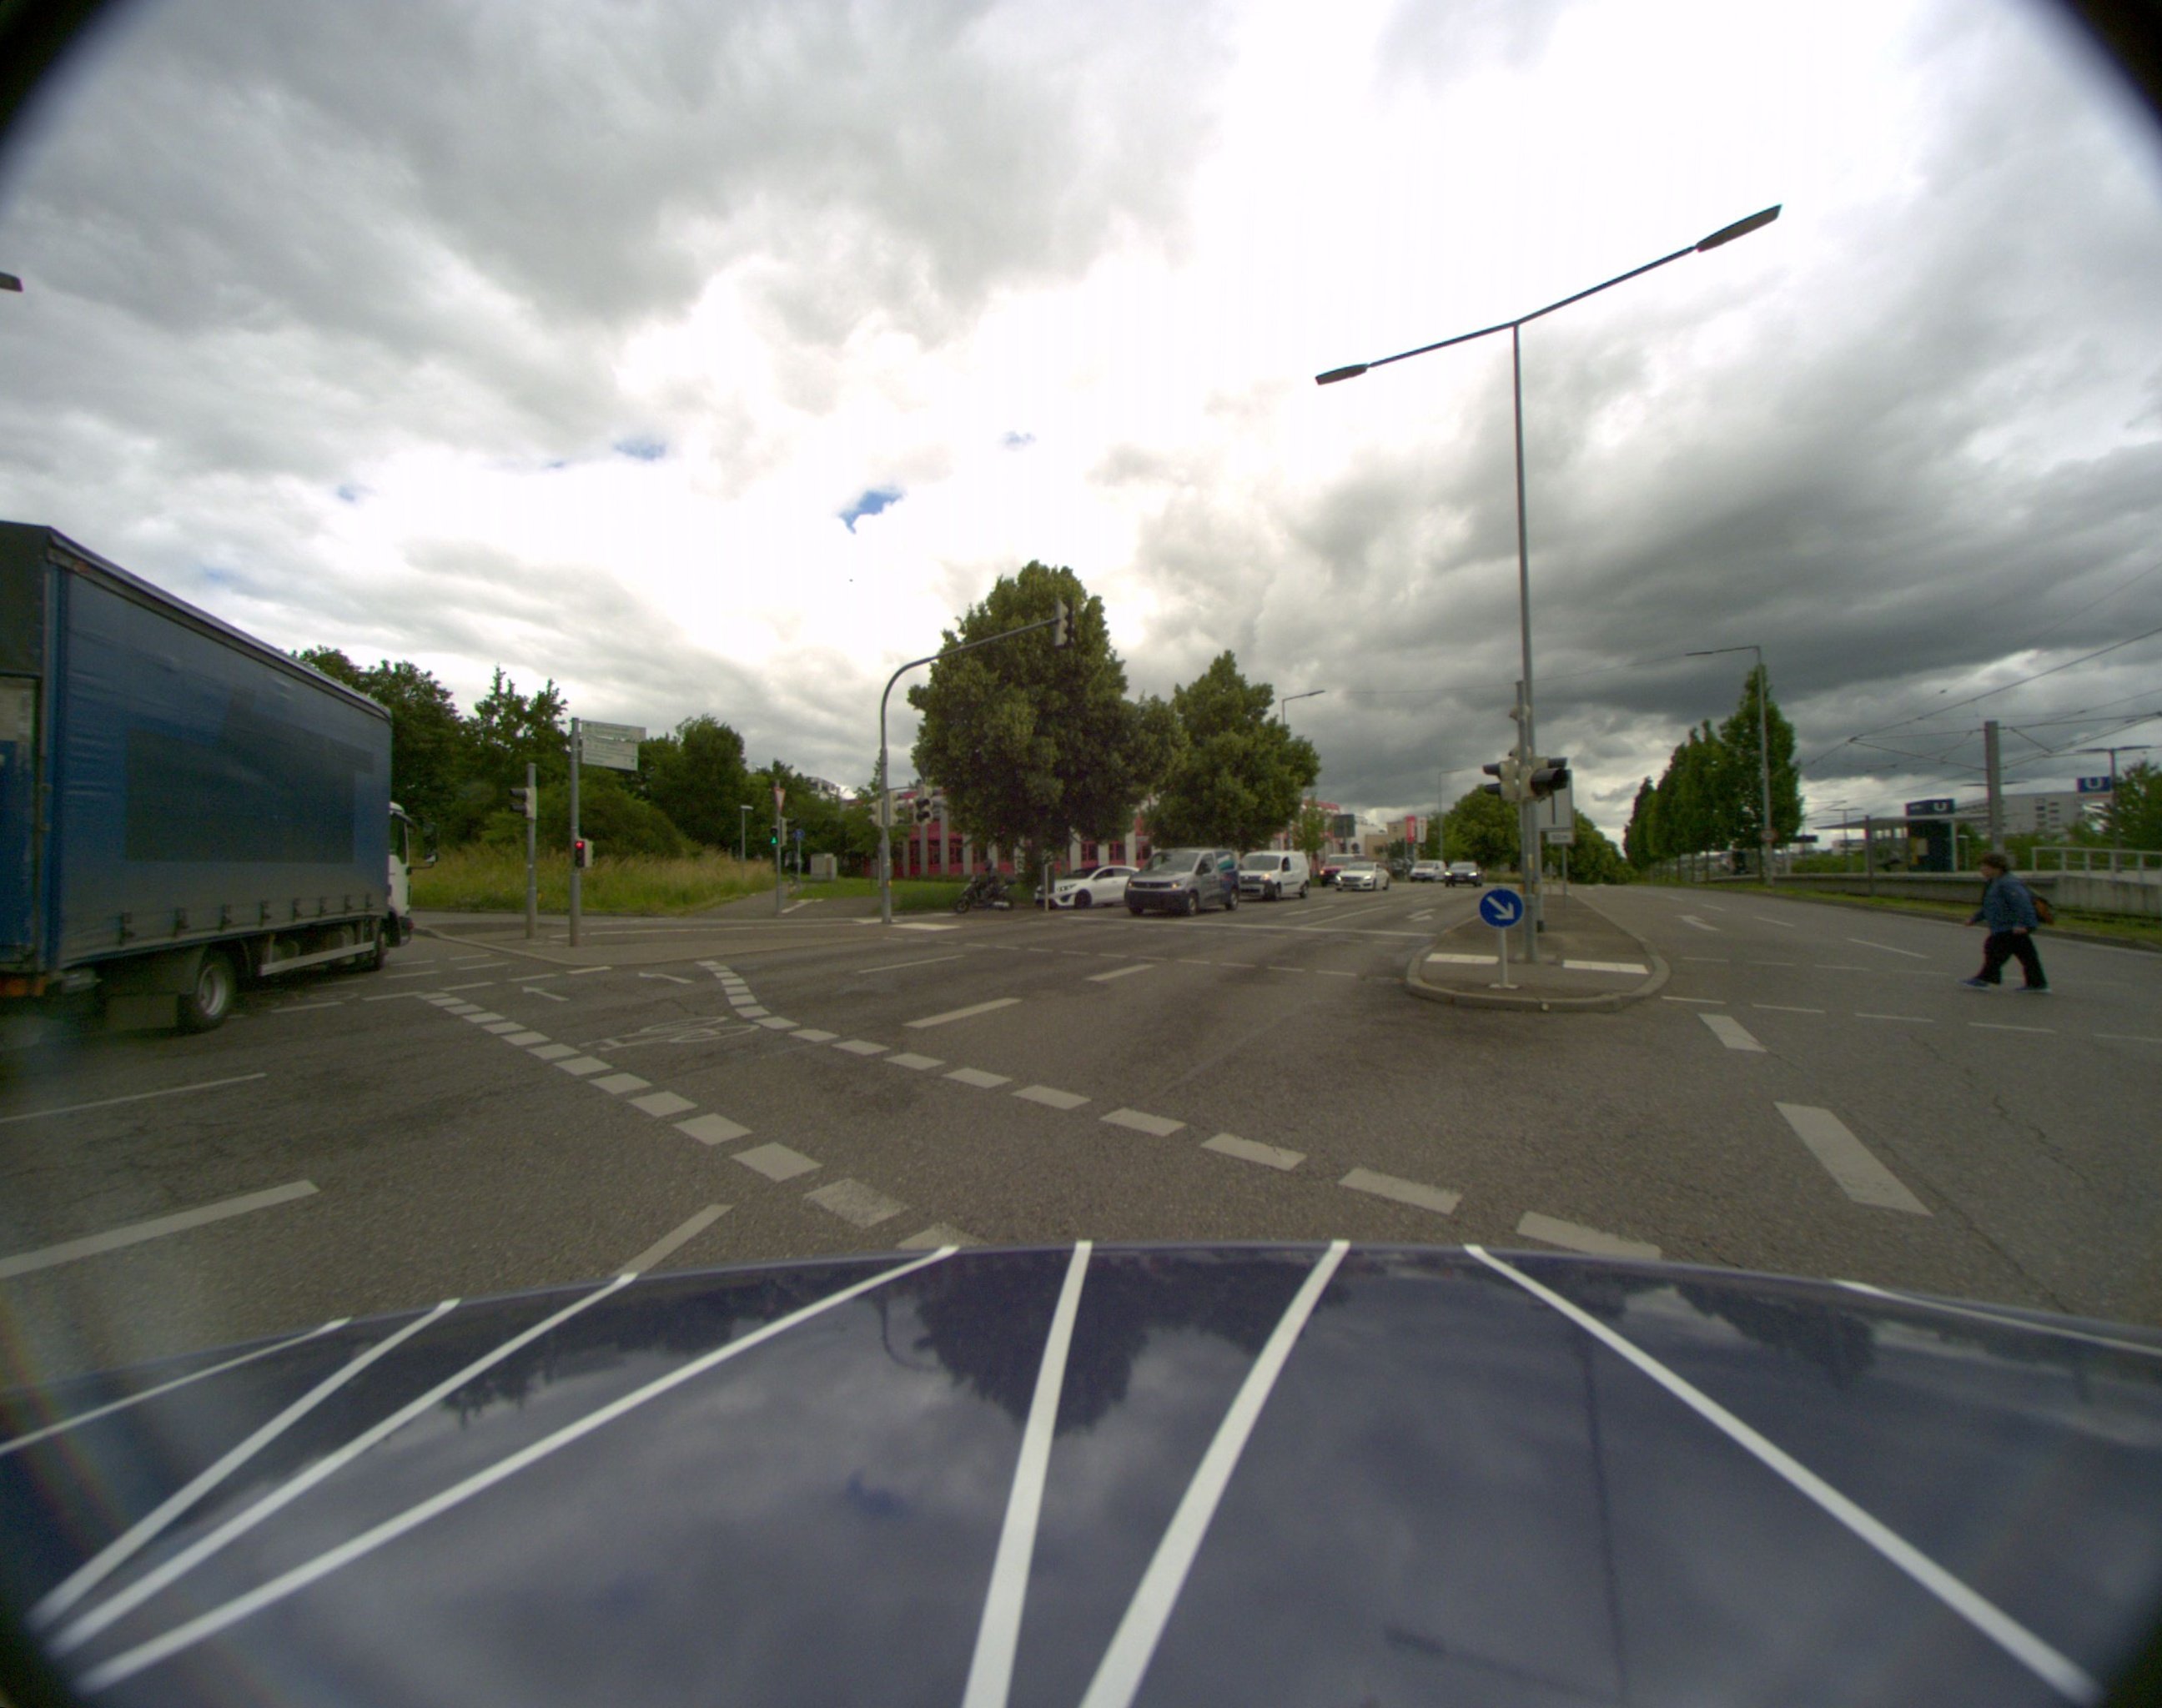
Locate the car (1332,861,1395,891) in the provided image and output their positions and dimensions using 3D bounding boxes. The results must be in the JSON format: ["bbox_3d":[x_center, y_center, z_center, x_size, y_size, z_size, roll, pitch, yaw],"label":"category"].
[{"bbox_3d":[13.831,1.089,37.118,1.809,1.332,4.233,0,-3,36],"label":"car"}]

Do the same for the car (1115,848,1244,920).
[{"bbox_3d":[2.820,0.733,20.927,1.809,1.769,4.231,0,0,34],"label":"car"}]

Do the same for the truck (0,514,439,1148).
[{"bbox_3d":[-9.550,-0.112,7.639,2.791,3.782,8.370,-1,0,-27],"label":"truck"}]

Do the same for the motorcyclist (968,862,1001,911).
[{"bbox_3d":[-2.907,0.970,22.914,0.818,1.413,0.758,-1,-1,-21],"label":"motorcyclist"}]

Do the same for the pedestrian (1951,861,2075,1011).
[{"bbox_3d":[10.044,0.836,8.222,0.714,1.521,0.672,0,1,38],"label":"pedestrian"}]

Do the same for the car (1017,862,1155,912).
[{"bbox_3d":[0.235,1.061,25.249,4.523,1.411,1.831,-1,-1,-43],"label":"car"}]

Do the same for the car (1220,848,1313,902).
[{"bbox_3d":[6.898,0.744,27.874,1.809,1.781,4.707,0,-1,33],"label":"car"}]

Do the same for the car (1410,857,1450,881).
[{"bbox_3d":[29.546,1.265,64.308,1.946,1.894,5.248,0,0,37],"label":"car"}]

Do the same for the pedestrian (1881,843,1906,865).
[{"bbox_3d":[44.351,-0.010,41.462,0.749,1.169,0.839,0,1,33],"label":"pedestrian"}]

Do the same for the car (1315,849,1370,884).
[{"bbox_3d":[15.882,0.785,46.069,2.179,1.893,4.465,0,-3,32],"label":"car"}]

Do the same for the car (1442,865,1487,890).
[{"bbox_3d":[23.277,1.449,46.045,1.809,1.332,4.233,0,-3,35],"label":"car"}]

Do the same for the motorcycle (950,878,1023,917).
[{"bbox_3d":[-2.848,1.290,22.934,2.072,1.084,0.758,0,-1,-22],"label":"motorcycle"}]
